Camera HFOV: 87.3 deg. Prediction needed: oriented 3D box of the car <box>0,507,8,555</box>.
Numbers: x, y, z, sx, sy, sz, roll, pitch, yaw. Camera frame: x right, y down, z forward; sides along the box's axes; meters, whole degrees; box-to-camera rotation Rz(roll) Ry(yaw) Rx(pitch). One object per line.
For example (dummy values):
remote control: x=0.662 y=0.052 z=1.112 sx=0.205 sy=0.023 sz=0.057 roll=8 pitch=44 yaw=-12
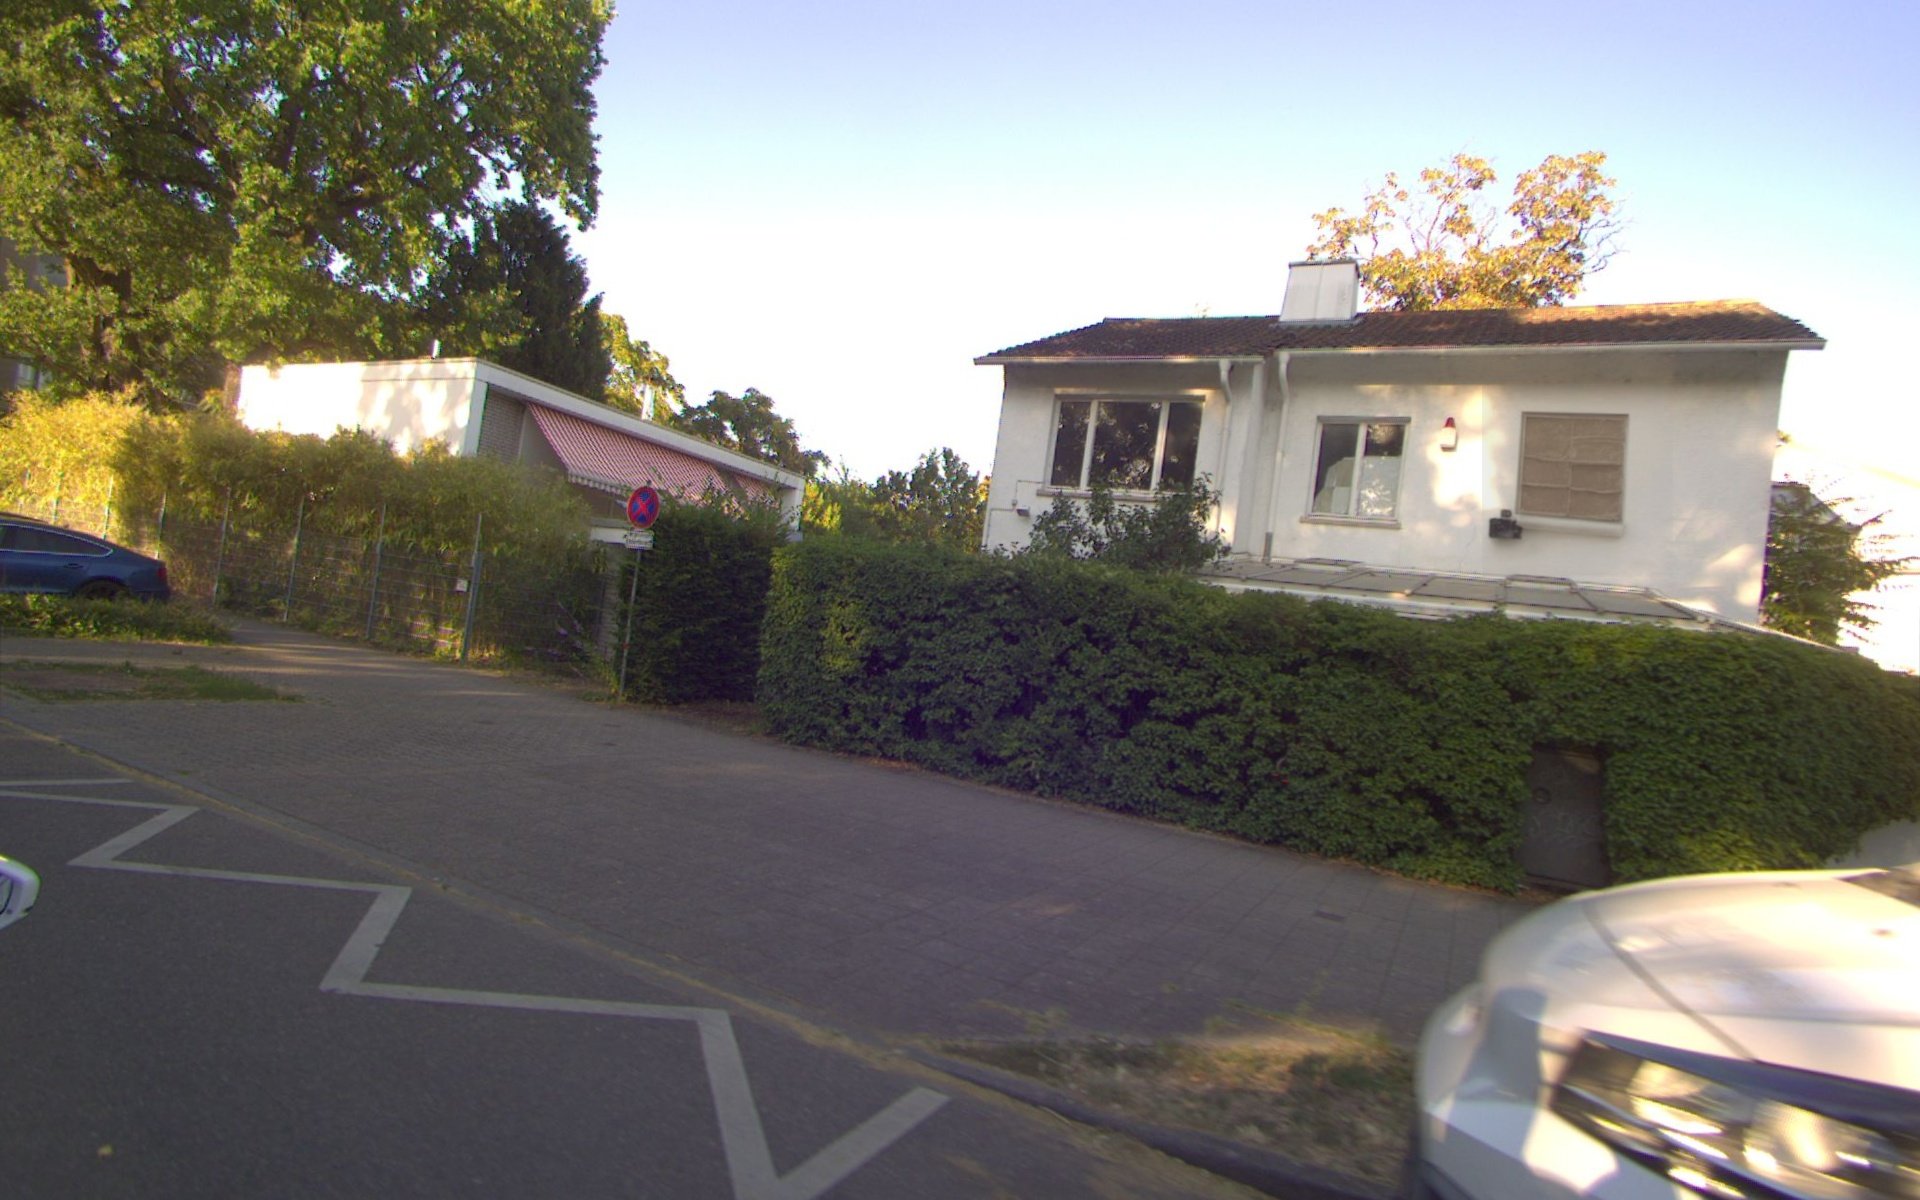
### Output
car: x=-17.933 y=-1.066 z=15.996 sx=1.729 sy=1.601 sz=3.510 roll=7 pitch=-3 yaw=19

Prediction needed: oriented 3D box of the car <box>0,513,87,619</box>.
car: x=-15.949 y=-0.749 z=15.169 sx=1.760 sy=1.540 sz=3.695 roll=7 pitch=-3 yaw=25

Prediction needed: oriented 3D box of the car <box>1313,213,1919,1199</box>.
car: x=3.116 y=0.928 z=0.898 sx=5.064 sy=2.036 sz=1.959 roll=7 pitch=-3 yaw=28

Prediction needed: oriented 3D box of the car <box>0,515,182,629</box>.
car: x=-13.917 y=-0.527 z=13.866 sx=1.890 sy=1.431 sz=4.598 roll=5 pitch=-2 yaw=30
